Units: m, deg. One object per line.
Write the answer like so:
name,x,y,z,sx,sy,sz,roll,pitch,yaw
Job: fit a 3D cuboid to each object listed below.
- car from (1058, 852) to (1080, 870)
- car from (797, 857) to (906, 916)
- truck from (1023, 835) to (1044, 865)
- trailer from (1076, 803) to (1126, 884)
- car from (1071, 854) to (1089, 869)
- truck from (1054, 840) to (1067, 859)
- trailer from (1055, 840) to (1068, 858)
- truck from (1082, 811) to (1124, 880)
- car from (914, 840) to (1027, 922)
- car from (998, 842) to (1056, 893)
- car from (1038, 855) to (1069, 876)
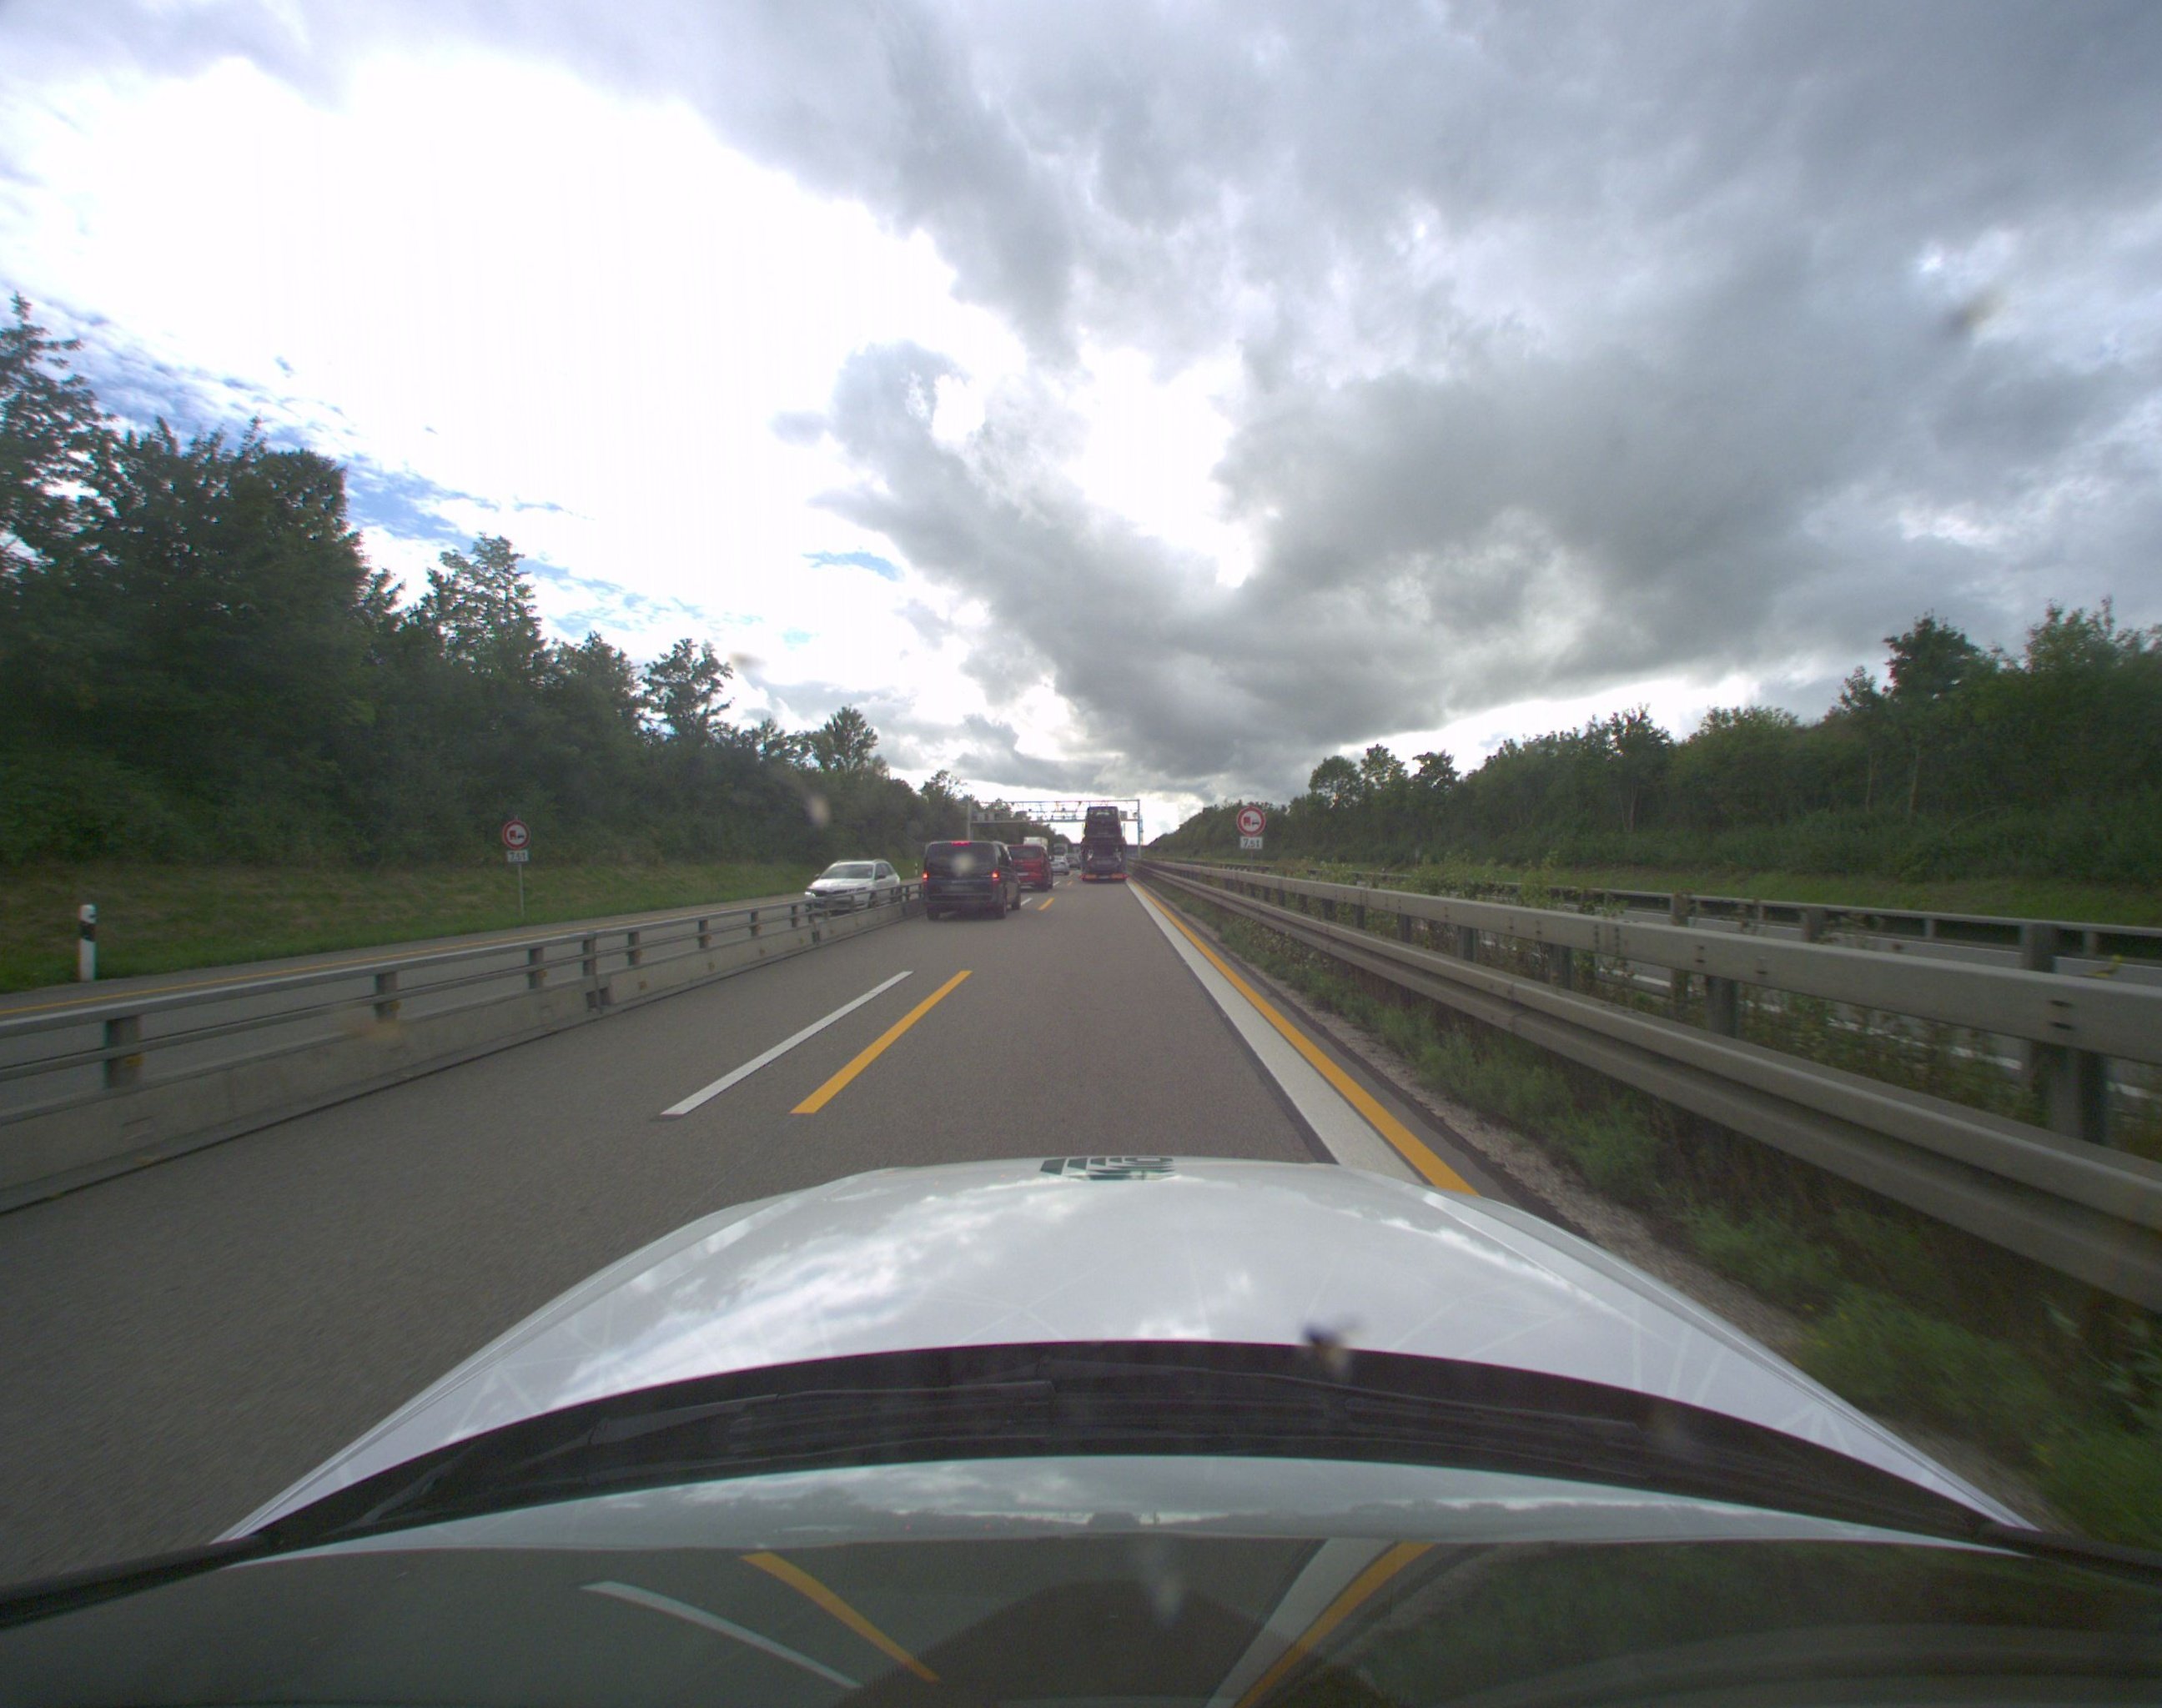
car,-1.200,0.695,82.085,2.024,1.757,4.578,-1,0,1
car,-6.342,0.831,23.032,1.689,1.454,4.553,-1,0,1
truck,-6.746,-0.555,116.827,2.589,4.154,5.622,0,0,1
trailer,1.239,-0.521,47.125,2.505,4.105,11.119,-1,0,2
car,-0.098,0.897,99.316,2.024,1.757,4.578,-1,0,1
truck,-4.764,-1.074,188.378,2.589,4.154,5.622,0,0,1
trailer,-4.603,-1.126,195.094,2.589,4.154,13.996,0,0,1
truck,1.434,-0.508,51.862,2.505,4.105,5.688,-1,0,2
car,-2.710,0.622,21.357,1.986,1.843,5.611,-1,0,2
car,-2.233,0.544,34.955,2.023,2.013,4.579,-1,0,2
car,-2.028,0.842,61.523,2.024,1.430,4.578,-1,0,1
